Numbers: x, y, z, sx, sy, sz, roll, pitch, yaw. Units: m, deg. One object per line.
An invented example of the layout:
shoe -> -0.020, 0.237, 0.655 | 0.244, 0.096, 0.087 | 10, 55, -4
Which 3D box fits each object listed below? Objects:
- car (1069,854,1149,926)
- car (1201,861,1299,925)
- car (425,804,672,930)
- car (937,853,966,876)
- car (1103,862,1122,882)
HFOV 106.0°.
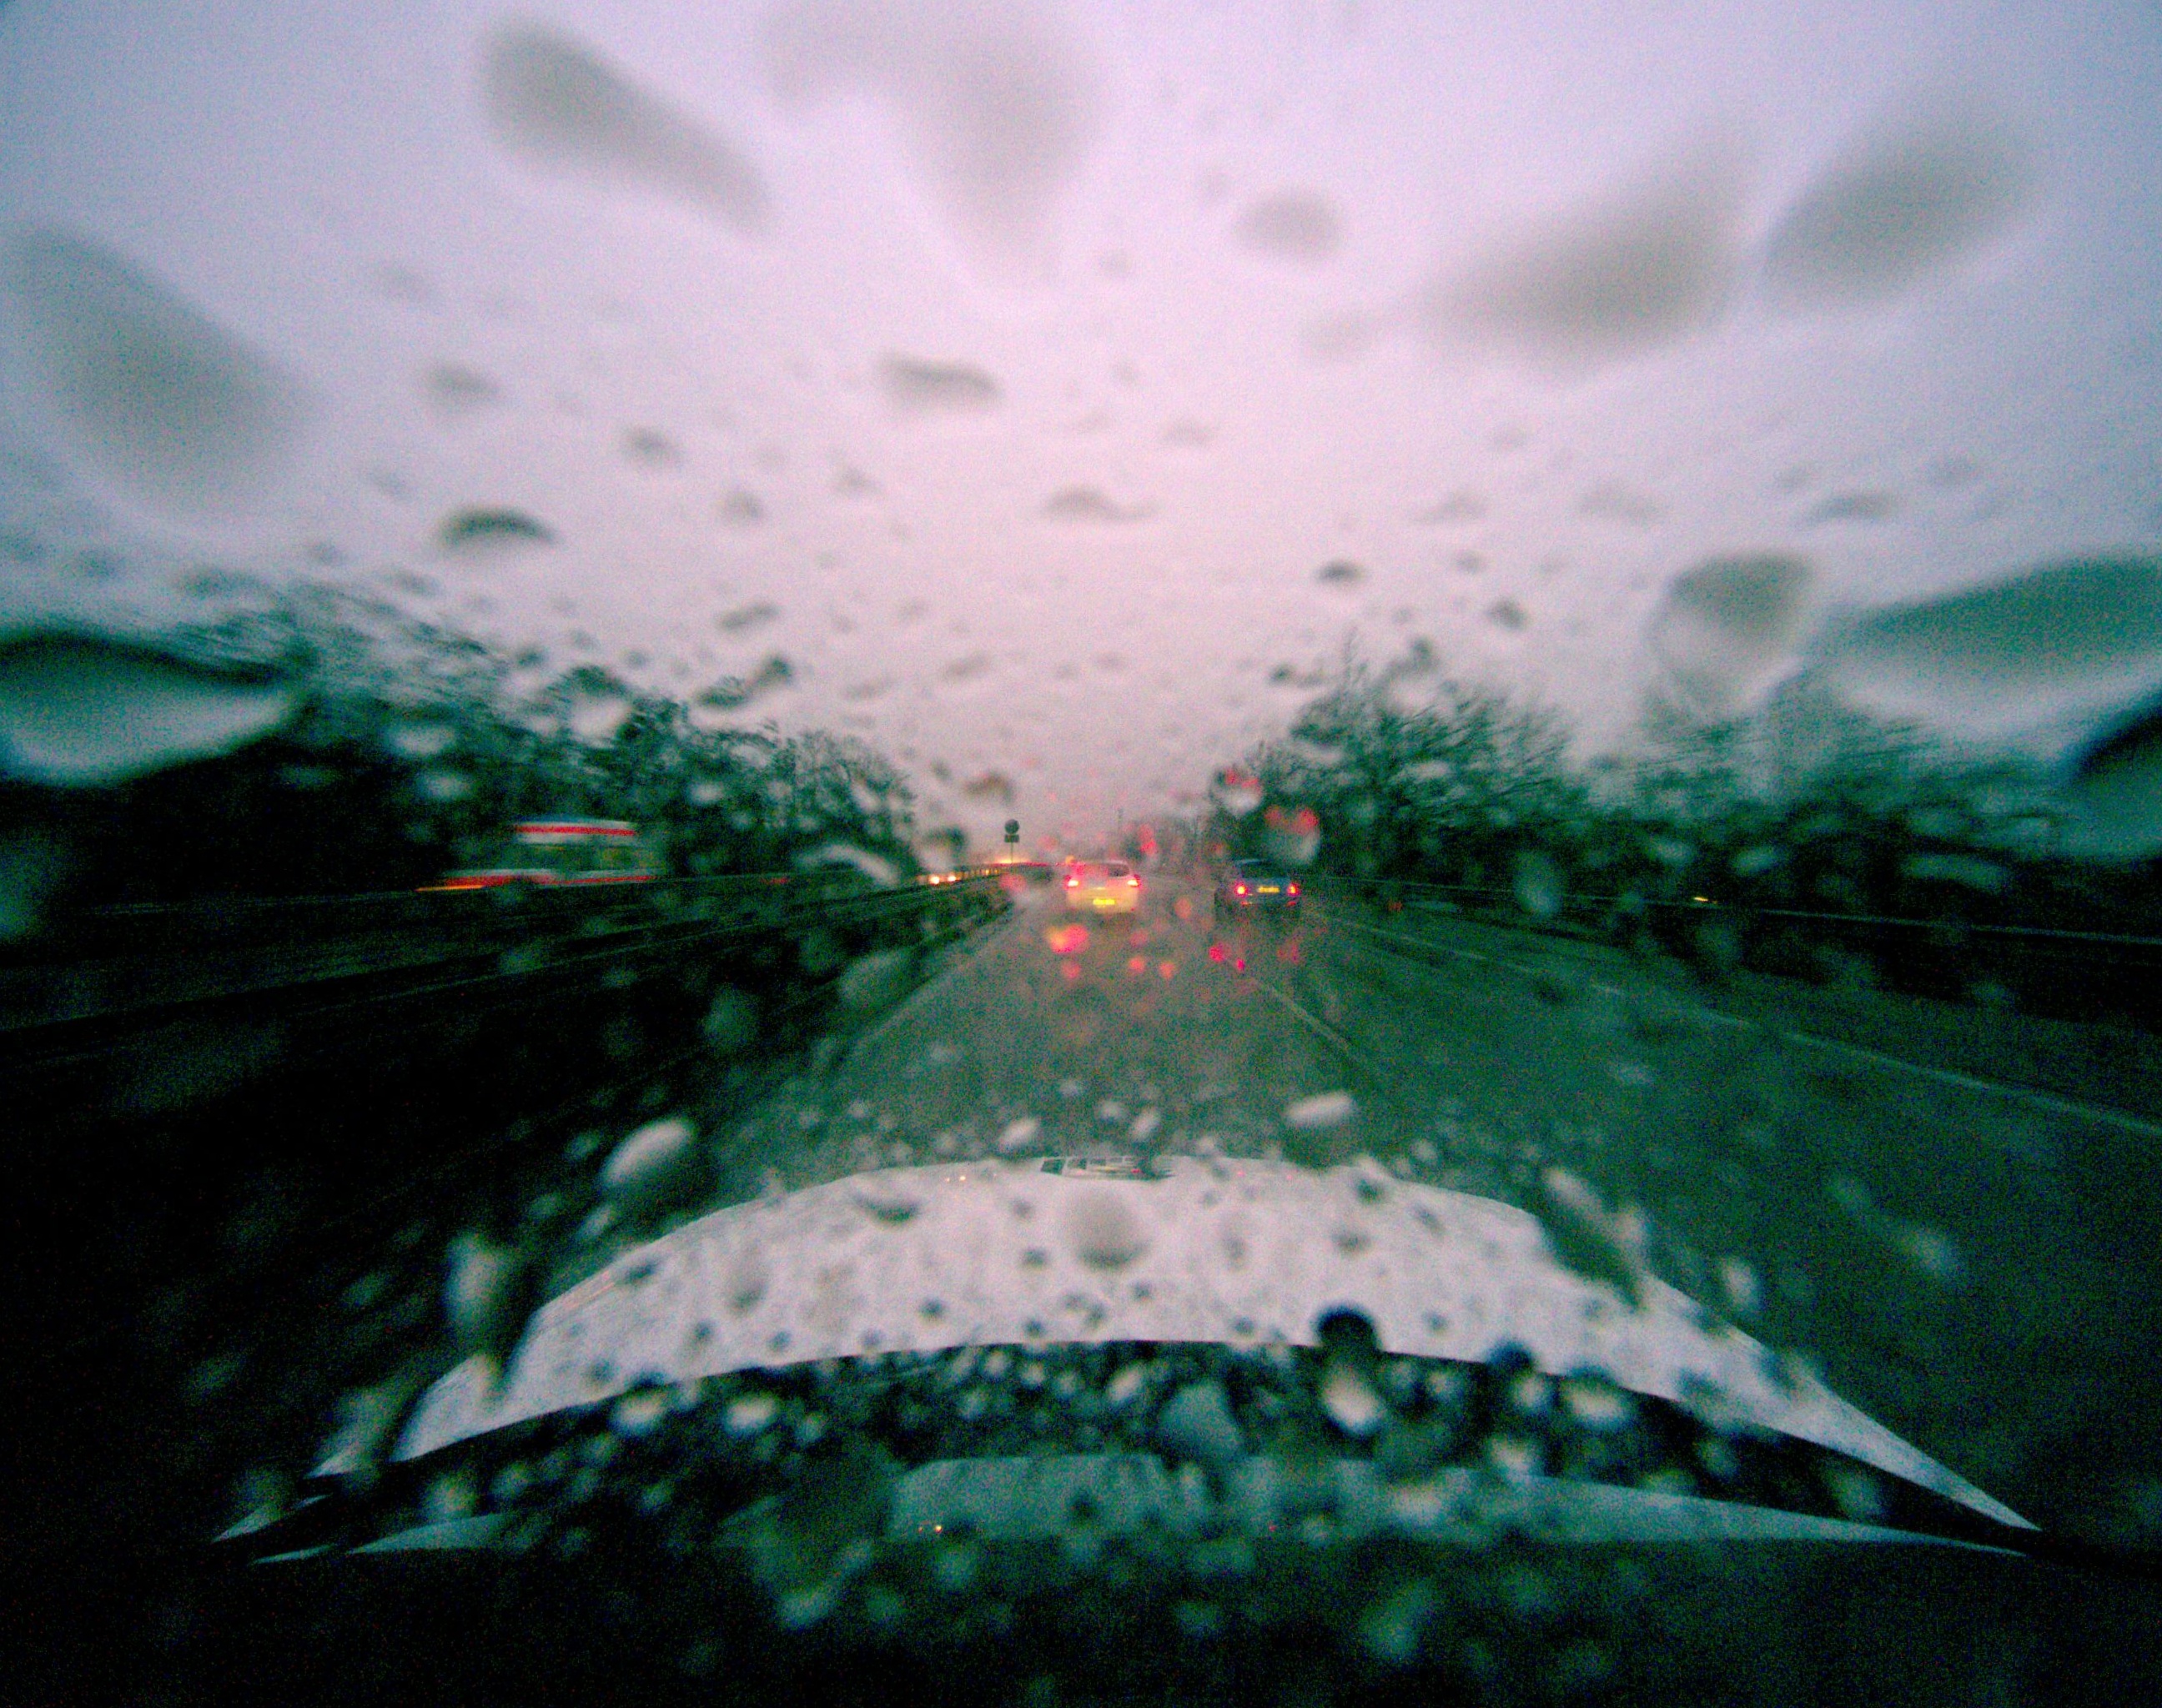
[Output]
car -> 0.724, 0.831, 20.540 | 1.838, 1.636, 3.770 | 0, 0, 2
car -> 4.266, 0.939, 21.122 | 1.838, 1.453, 4.151 | 0, 0, 2
car -> -11.642, 0.255, 18.427 | 1.838, 2.436, 5.419 | 0, 0, 2
car -> -11.240, 0.919, 71.113 | 1.930, 1.973, 4.533 | 1, -1, -2
car -> 3.303, 1.891, 86.009 | 1.867, 1.904, 4.000 | 5, -1, 1
